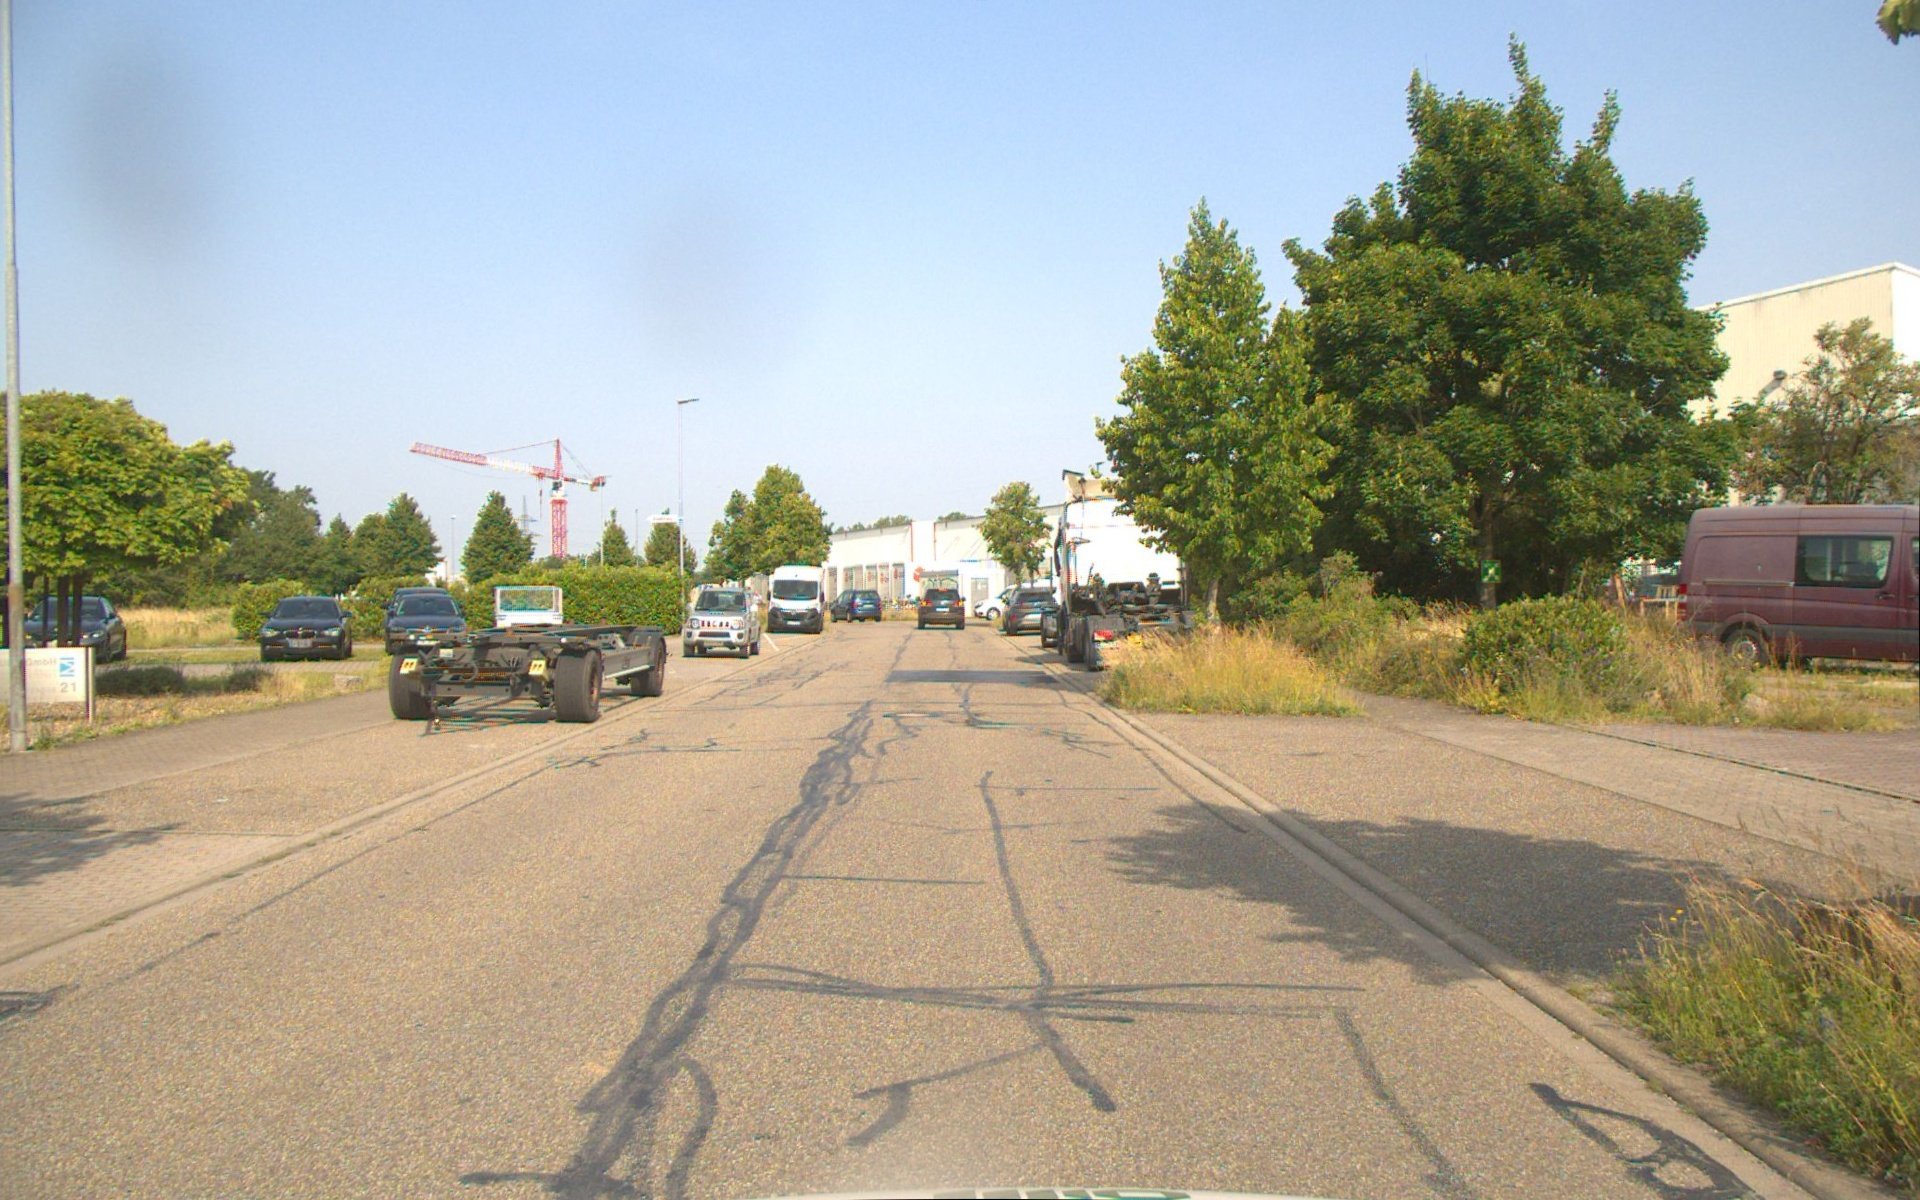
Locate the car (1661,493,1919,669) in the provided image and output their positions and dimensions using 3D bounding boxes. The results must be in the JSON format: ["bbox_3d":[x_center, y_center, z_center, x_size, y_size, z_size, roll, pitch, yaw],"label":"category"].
[{"bbox_3d":[14.395,-0.264,25.695,2.553,2.570,5.956,2,-1,-42],"label":"car"}]

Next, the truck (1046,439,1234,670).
[{"bbox_3d":[3.422,-0.836,33.008,2.638,4.033,6.044,-3,0,-3],"label":"truck"}]

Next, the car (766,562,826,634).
[{"bbox_3d":[-6.450,-0.077,65.529,2.060,2.640,6.499,2,0,-4],"label":"car"}]

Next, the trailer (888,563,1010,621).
[{"bbox_3d":[-0.792,-0.574,120.281,8.426,3.962,2.754,2,-1,-25],"label":"trailer"}]

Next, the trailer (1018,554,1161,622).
[{"bbox_3d":[7.952,-0.730,101.456,8.418,3.962,2.756,0,-3,-23],"label":"trailer"}]

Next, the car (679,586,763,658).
[{"bbox_3d":[-5.869,0.516,40.918,1.564,1.680,3.643,-1,0,-1],"label":"car"}]

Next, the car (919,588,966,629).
[{"bbox_3d":[-0.740,0.348,68.306,1.842,1.614,4.112,-1,-1,-1],"label":"car"}]

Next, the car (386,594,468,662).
[{"bbox_3d":[-14.085,0.686,43.683,1.959,1.687,4.399,0,0,-18],"label":"car"}]

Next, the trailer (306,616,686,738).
[{"bbox_3d":[-5.669,0.857,22.216,2.494,1.093,9.730,1,0,-1],"label":"trailer"}]

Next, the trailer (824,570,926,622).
[{"bbox_3d":[-6.913,-0.304,135.193,7.860,3.962,2.754,2,-1,-25],"label":"trailer"}]

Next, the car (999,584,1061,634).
[{"bbox_3d":[2.360,0.317,56.880,1.842,1.601,4.112,-2,-1,-1],"label":"car"}]

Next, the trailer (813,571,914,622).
[{"bbox_3d":[-8.027,-0.256,137.979,7.860,3.962,2.754,2,-1,-25],"label":"trailer"}]

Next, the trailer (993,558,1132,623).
[{"bbox_3d":[6.530,-0.621,105.033,8.421,3.962,2.756,-1,0,-24],"label":"trailer"}]

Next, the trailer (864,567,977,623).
[{"bbox_3d":[-2.984,-0.370,126.072,8.201,3.962,2.754,2,-1,-25],"label":"trailer"}]

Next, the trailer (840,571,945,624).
[{"bbox_3d":[-5.399,-0.162,132.634,7.930,3.962,2.754,2,-1,-25],"label":"trailer"}]

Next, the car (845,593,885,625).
[{"bbox_3d":[-4.858,0.461,85.192,1.929,1.601,4.111,-1,-1,-2],"label":"car"}]

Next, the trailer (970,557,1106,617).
[{"bbox_3d":[5.124,-0.803,107.905,8.619,3.827,2.769,0,-1,-25],"label":"trailer"}]

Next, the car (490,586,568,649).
[{"bbox_3d":[-11.562,0.456,44.244,1.804,1.599,3.798,1,0,-17],"label":"car"}]

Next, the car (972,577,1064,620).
[{"bbox_3d":[2.957,-0.062,85.019,4.517,2.147,2.127,-1,-1,-3],"label":"car"}]

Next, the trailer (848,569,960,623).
[{"bbox_3d":[-4.336,-0.268,128.723,8.201,3.962,2.754,2,-1,-25],"label":"trailer"}]

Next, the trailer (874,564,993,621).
[{"bbox_3d":[-1.952,-0.523,123.264,8.426,3.962,2.754,2,-1,-25],"label":"trailer"}]

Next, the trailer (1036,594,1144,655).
[{"bbox_3d":[3.073,0.536,40.647,1.899,1.257,7.450,-3,0,-1],"label":"trailer"}]

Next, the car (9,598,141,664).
[{"bbox_3d":[-19.384,0.630,36.414,1.960,1.348,4.325,0,0,-20],"label":"car"}]

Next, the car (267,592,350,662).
[{"bbox_3d":[-14.855,0.584,37.880,1.654,1.502,4.325,0,0,-20],"label":"car"}]

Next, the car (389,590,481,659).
[{"bbox_3d":[-12.356,0.540,38.873,1.945,1.502,4.399,0,0,-18],"label":"car"}]
